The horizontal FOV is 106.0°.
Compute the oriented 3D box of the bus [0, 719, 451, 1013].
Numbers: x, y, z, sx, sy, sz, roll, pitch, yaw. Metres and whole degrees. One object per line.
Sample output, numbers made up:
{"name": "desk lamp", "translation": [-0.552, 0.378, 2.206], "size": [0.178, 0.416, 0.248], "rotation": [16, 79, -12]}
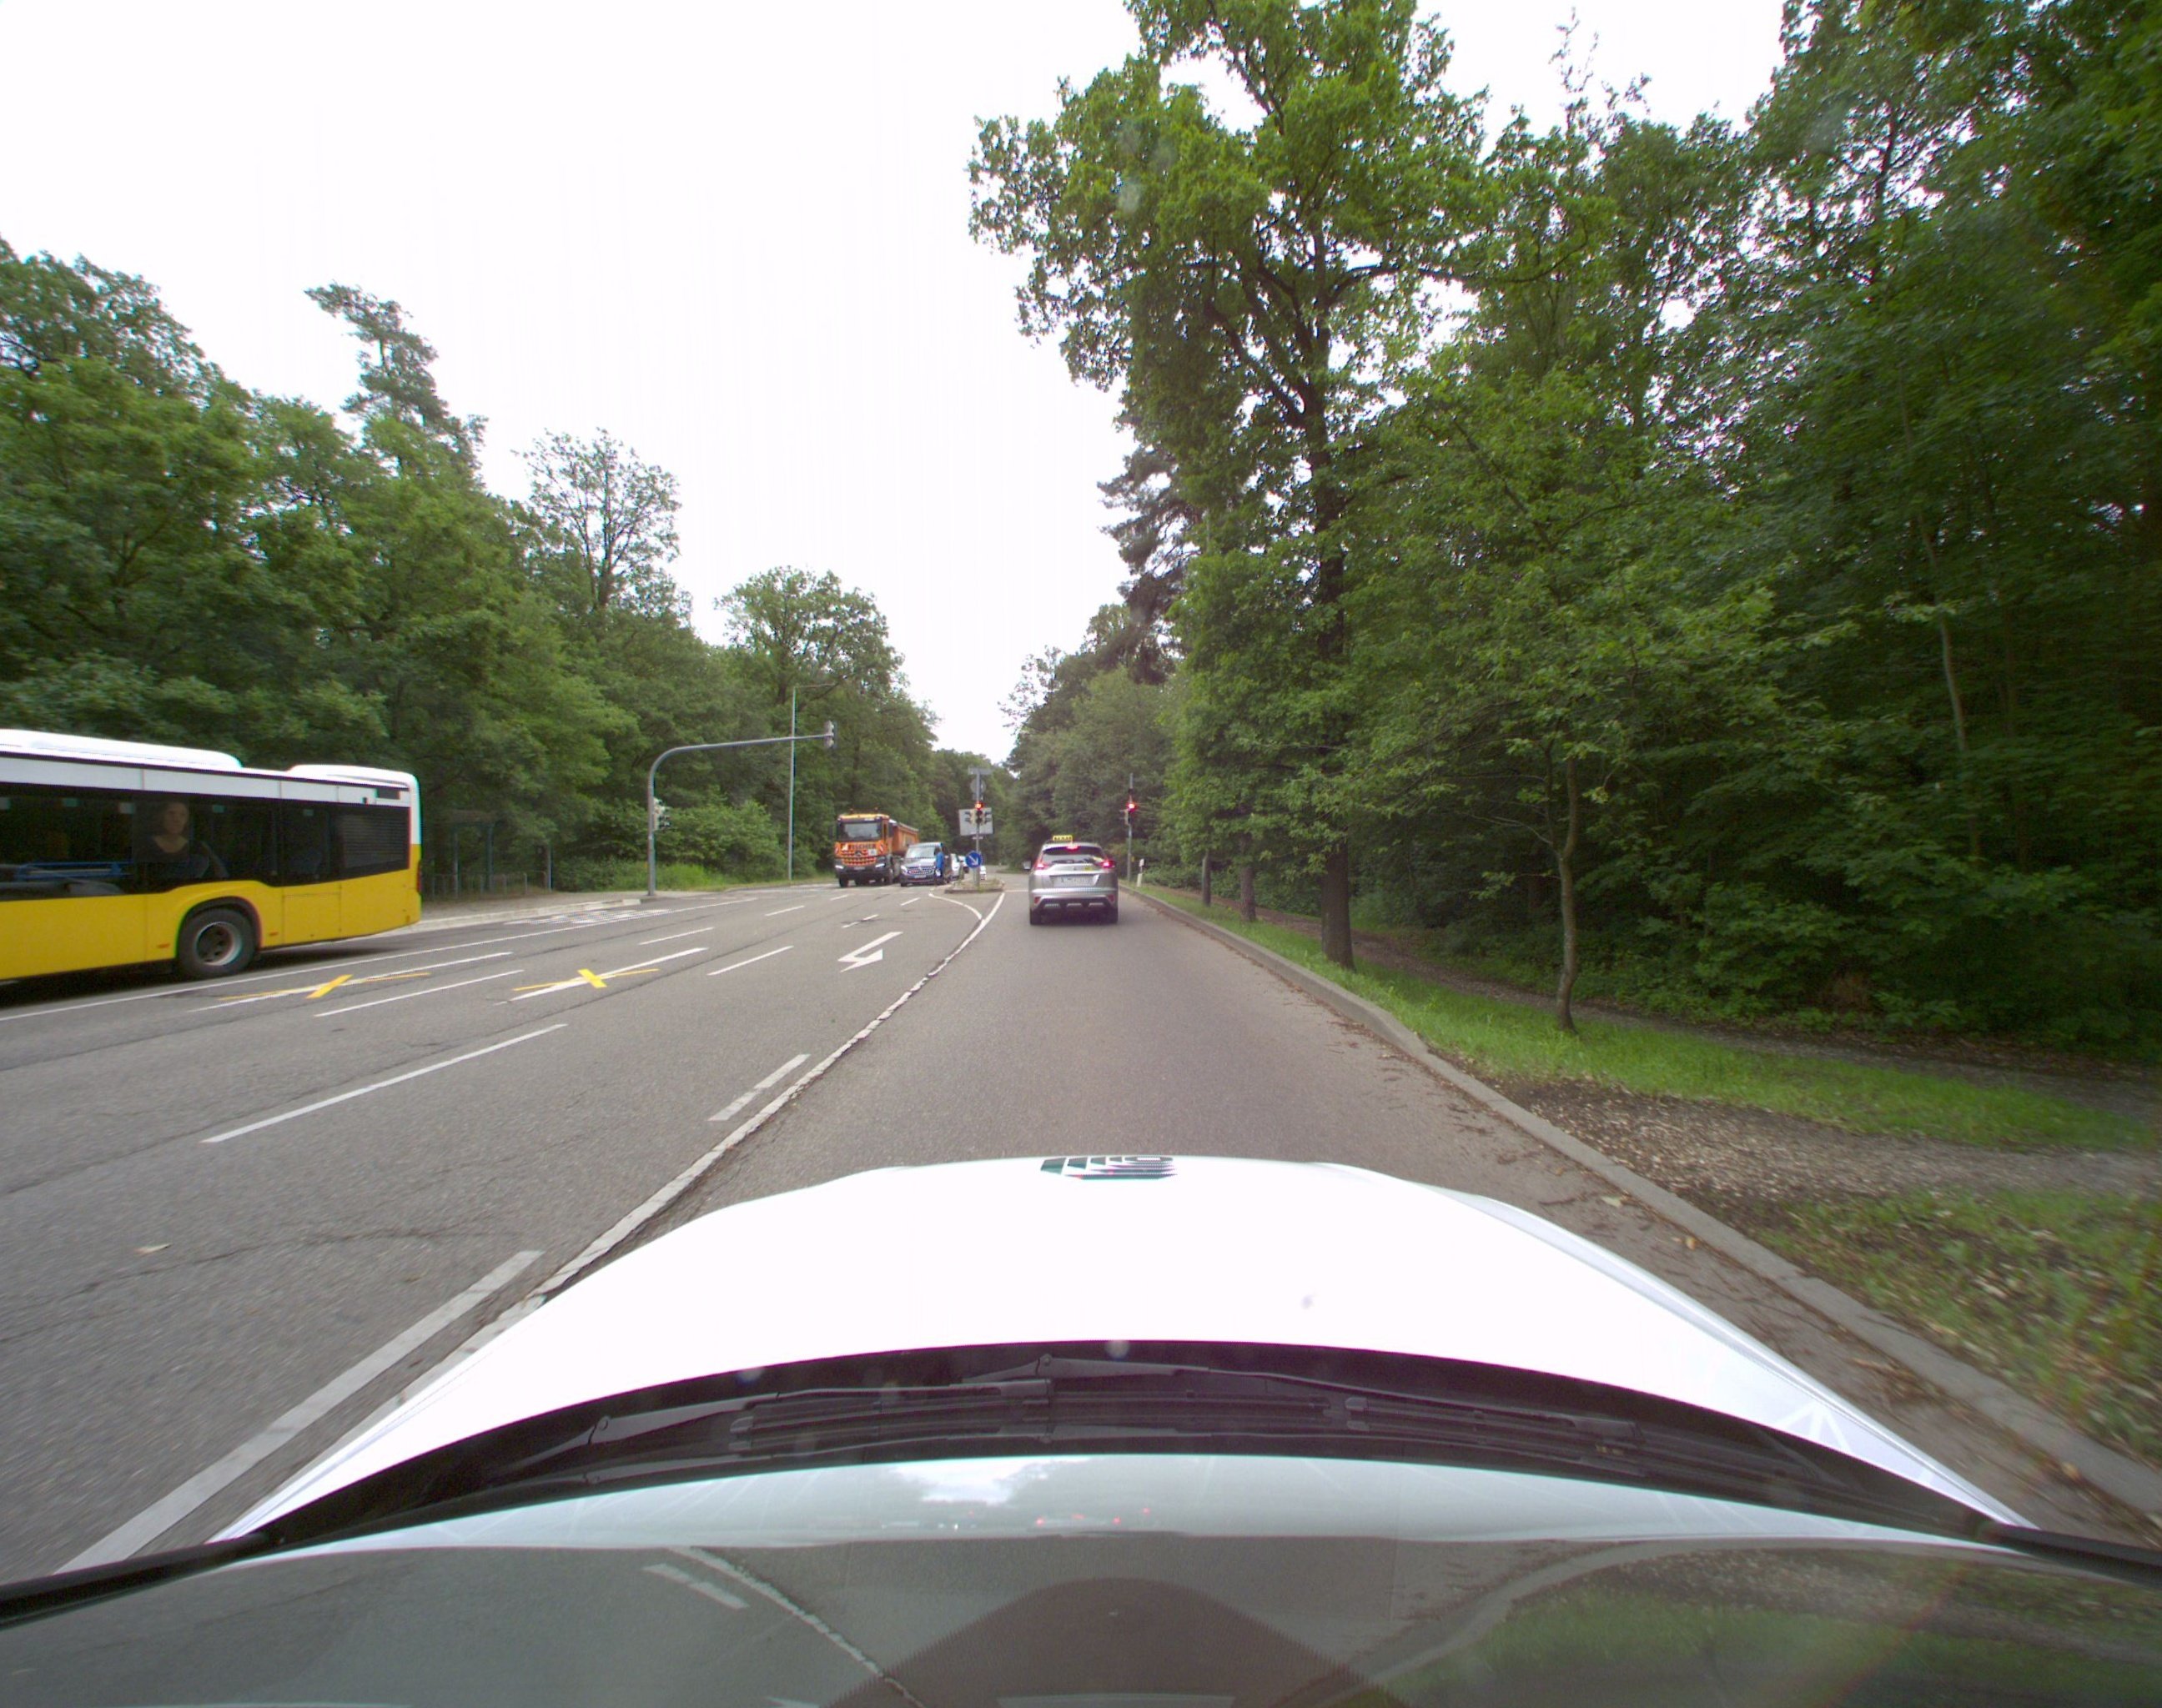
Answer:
{"name": "bus", "translation": [-12.939, 0.118, 10.473], "size": [2.890, 3.127, 8.693], "rotation": [0, 0, 0]}

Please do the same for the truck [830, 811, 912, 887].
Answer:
{"name": "truck", "translation": [-10.165, -0.188, 40.191], "size": [2.735, 3.318, 7.145], "rotation": [-2, 0, -5]}

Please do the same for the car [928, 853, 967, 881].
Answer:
{"name": "car", "translation": [-7.230, 0.652, 44.401], "size": [1.608, 1.321, 3.718], "rotation": [-3, 1, -3]}

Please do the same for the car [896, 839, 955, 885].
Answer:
{"name": "car", "translation": [-6.981, 0.359, 37.061], "size": [1.990, 1.893, 4.831], "rotation": [-2, 0, -4]}

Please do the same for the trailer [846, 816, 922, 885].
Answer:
{"name": "trailer", "translation": [-10.558, -0.141, 44.424], "size": [2.735, 3.318, 8.552], "rotation": [-2, 0, -5]}

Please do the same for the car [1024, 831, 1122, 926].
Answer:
{"name": "car", "translation": [-0.199, 0.450, 17.569], "size": [1.841, 1.780, 3.998], "rotation": [-1, 0, -1]}

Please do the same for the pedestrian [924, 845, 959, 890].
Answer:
{"name": "pedestrian", "translation": [-5.257, 0.498, 30.741], "size": [1.043, 1.649, 1.070], "rotation": [-1, 1, 3]}
